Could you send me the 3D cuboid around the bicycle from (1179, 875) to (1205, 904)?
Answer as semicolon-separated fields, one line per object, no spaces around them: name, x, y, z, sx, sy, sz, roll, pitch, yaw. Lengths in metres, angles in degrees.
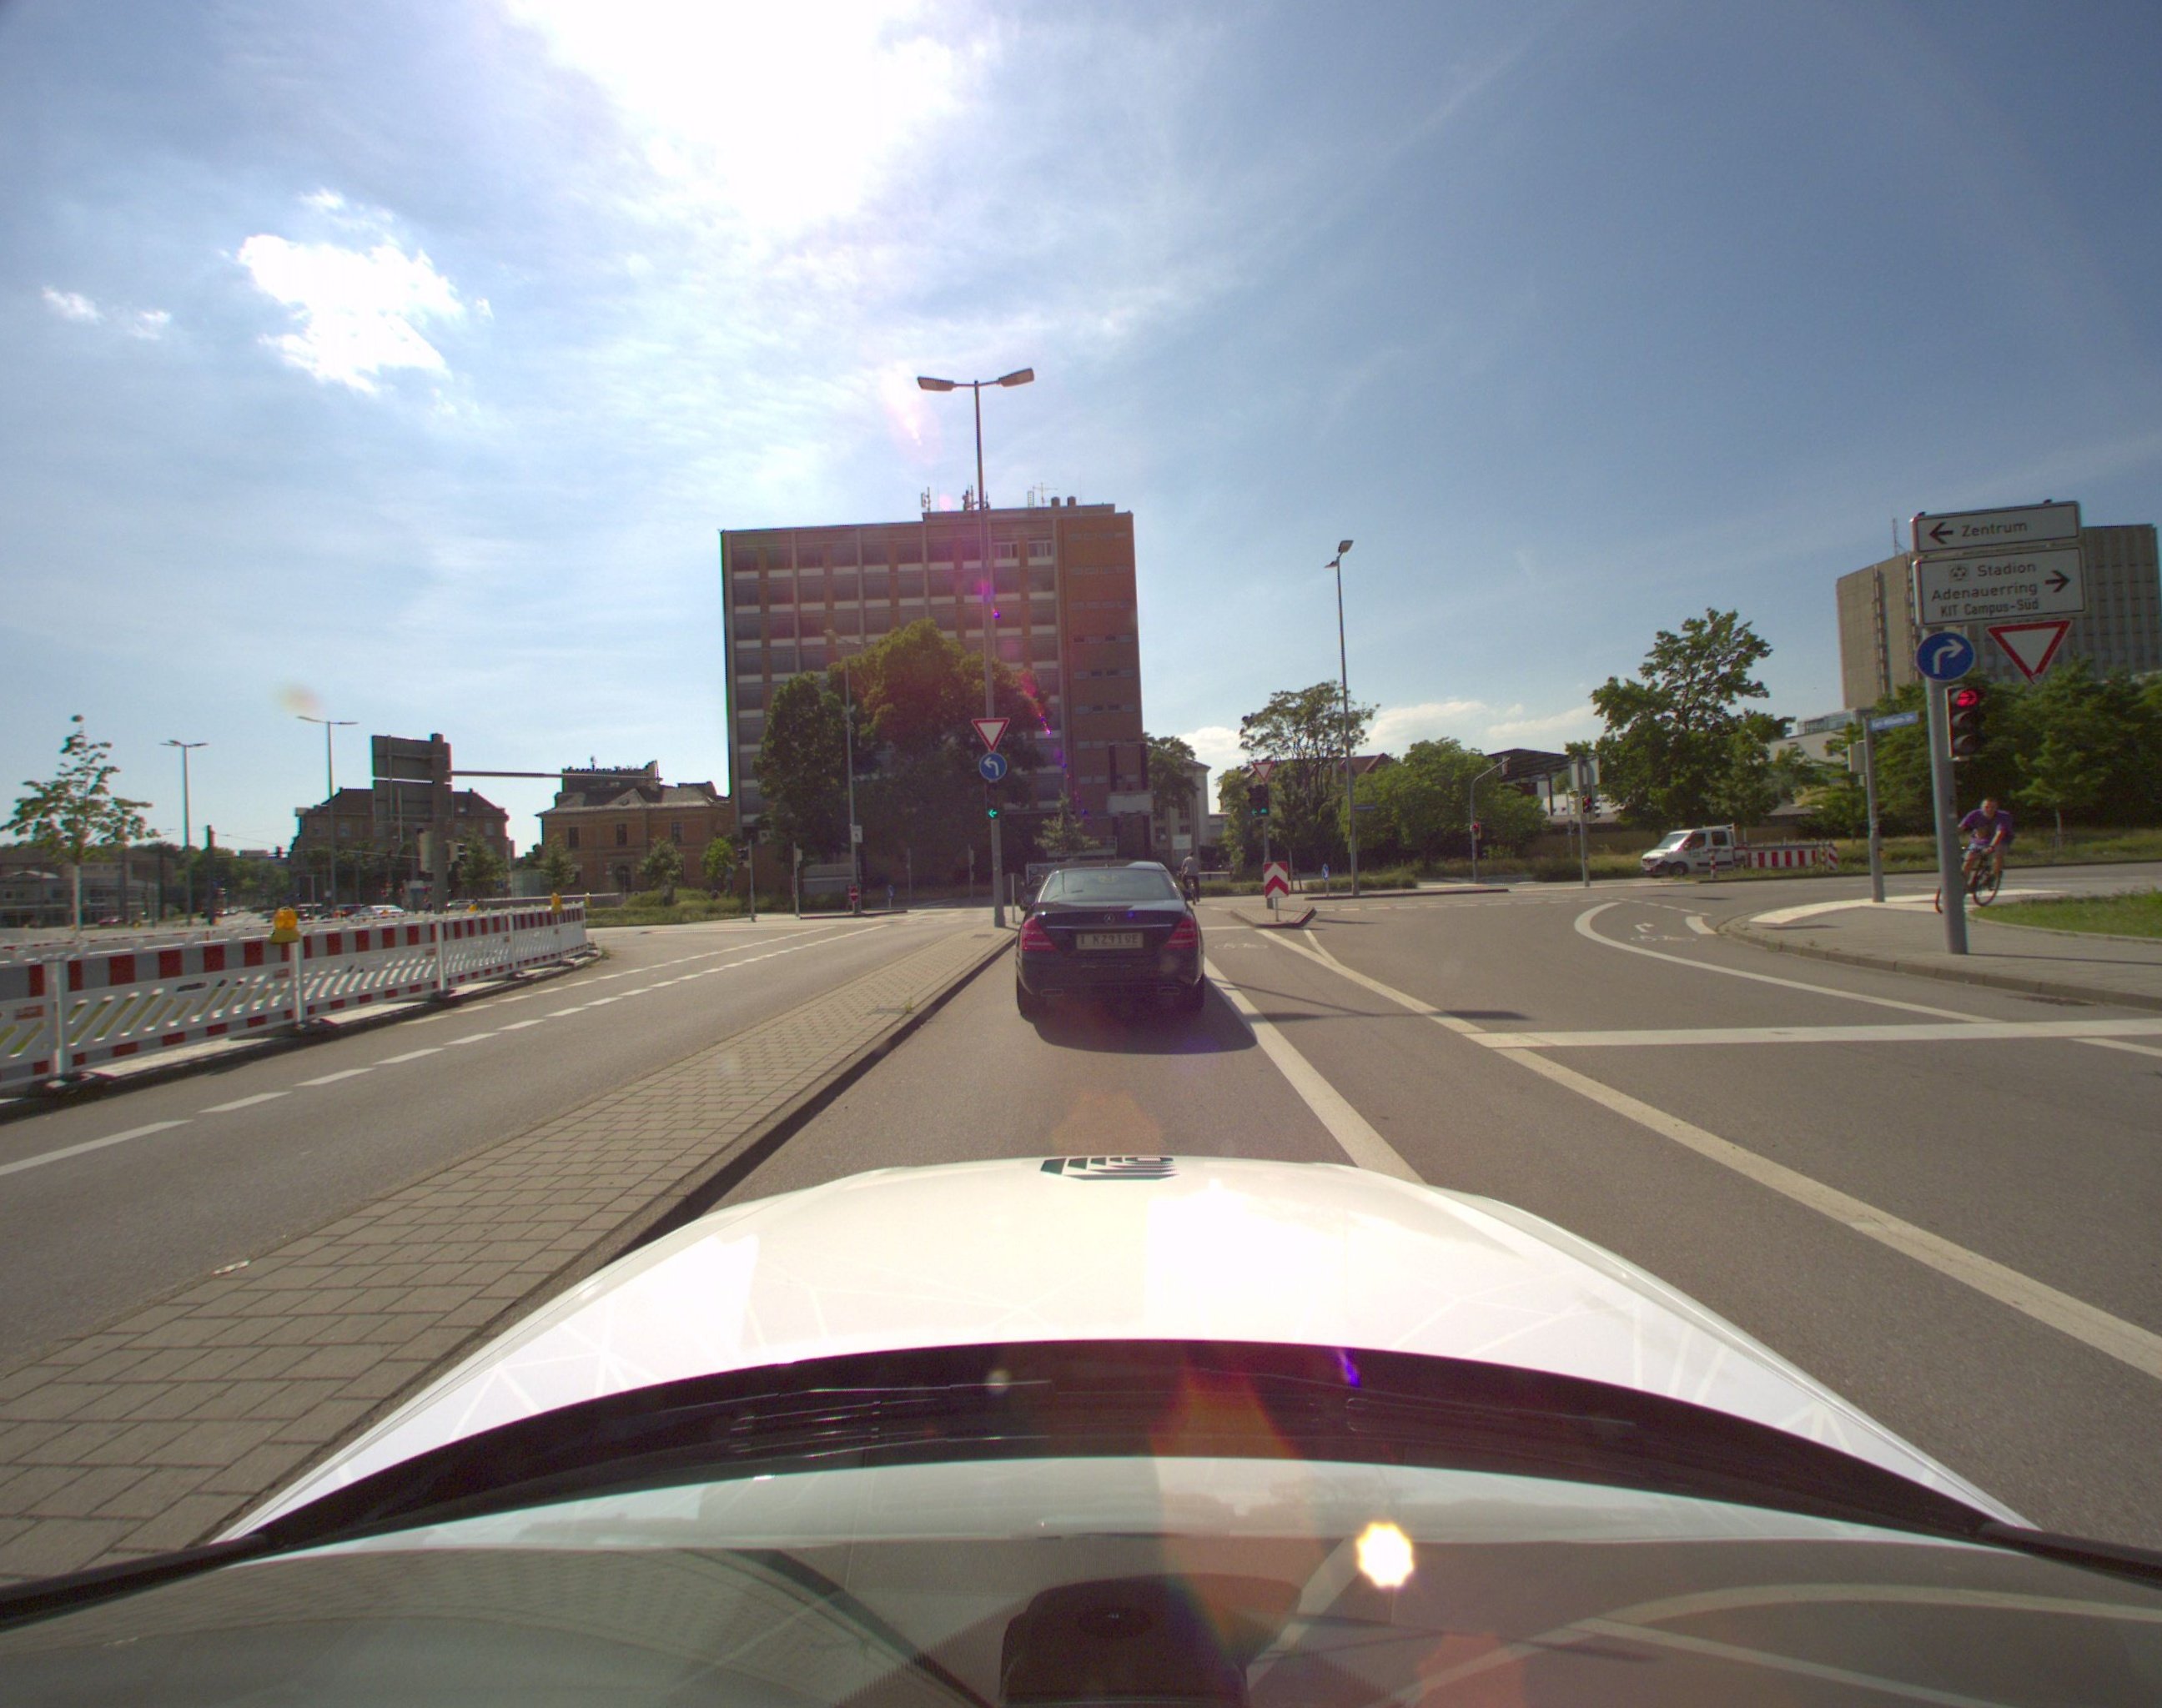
bicycle;3.807;1.191;27.944;0.689;0.946;1.959;0;-1;2

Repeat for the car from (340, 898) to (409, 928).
car;-48.006;4.006;55.375;3.951;1.816;2.011;-3;-2;24

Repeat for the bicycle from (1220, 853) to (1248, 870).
bicycle;16.949;0.787;90.283;2.813;1.744;0.842;-3;-1;1

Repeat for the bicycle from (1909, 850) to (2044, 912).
bicycle;14.617;0.430;13.299;1.931;0.887;0.681;-3;-1;-16

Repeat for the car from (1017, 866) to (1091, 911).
car;-1.087;1.314;30.530;1.798;1.510;3.977;-2;-3;-16

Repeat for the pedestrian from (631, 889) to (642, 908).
pedestrian;-39.876;3.984;73.056;0.642;1.661;0.654;-1;-1;28

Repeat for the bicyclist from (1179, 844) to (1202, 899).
bicyclist;3.801;0.611;28.288;0.683;1.879;0.860;-1;-1;2

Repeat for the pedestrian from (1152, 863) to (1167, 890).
pedestrian;4.827;1.383;50.210;0.807;1.579;0.693;-3;-1;3

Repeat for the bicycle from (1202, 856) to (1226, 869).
bicycle;16.754;1.113;102.488;2.812;1.480;0.842;-3;-1;2

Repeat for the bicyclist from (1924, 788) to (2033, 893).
bicyclist;14.829;-0.204;13.485;0.485;1.637;1.084;-3;-1;-1

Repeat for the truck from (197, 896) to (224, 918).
truck;-157.101;9.547;146.909;7.827;3.730;3.093;-4;-2;41

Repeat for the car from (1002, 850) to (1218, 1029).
car;0.318;0.778;9.421;1.852;1.530;4.715;-1;-1;1

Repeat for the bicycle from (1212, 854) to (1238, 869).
bicycle;16.581;0.870;93.818;2.813;1.587;0.842;-3;-1;1

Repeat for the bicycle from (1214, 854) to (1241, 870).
bicycle;16.683;0.872;92.703;2.813;1.659;0.842;-3;0;1

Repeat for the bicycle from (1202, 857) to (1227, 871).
bicycle;16.199;1.178;98.726;2.813;1.559;0.842;-3;-1;1

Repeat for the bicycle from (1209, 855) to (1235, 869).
bicycle;16.585;0.963;95.725;2.813;1.507;0.842;-3;-1;1

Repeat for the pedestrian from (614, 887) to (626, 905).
pedestrian;-44.304;4.018;78.233;0.644;1.661;0.652;-3;-2;9

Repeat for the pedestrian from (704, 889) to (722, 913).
pedestrian;-26.713;3.404;59.123;0.790;1.725;0.878;-3;-2;24

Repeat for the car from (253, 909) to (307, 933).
car;-55.865;4.676;56.806;3.948;1.510;1.811;-4;-2;32

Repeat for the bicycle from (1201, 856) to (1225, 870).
bicycle;16.403;1.125;101.016;2.813;1.500;0.842;-3;-1;1

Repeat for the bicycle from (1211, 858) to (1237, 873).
bicycle;16.651;1.313;94.869;2.813;1.537;0.842;-3;-1;1

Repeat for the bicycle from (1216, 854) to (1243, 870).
bicycle;16.714;0.866;91.705;2.813;1.649;0.842;-3;-1;1

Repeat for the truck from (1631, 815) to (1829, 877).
truck;29.812;-0.334;37.599;6.997;2.356;2.414;-3;-3;2

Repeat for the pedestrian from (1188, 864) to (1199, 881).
pedestrian;8.365;1.375;60.478;0.788;1.214;0.759;-1;-1;8
